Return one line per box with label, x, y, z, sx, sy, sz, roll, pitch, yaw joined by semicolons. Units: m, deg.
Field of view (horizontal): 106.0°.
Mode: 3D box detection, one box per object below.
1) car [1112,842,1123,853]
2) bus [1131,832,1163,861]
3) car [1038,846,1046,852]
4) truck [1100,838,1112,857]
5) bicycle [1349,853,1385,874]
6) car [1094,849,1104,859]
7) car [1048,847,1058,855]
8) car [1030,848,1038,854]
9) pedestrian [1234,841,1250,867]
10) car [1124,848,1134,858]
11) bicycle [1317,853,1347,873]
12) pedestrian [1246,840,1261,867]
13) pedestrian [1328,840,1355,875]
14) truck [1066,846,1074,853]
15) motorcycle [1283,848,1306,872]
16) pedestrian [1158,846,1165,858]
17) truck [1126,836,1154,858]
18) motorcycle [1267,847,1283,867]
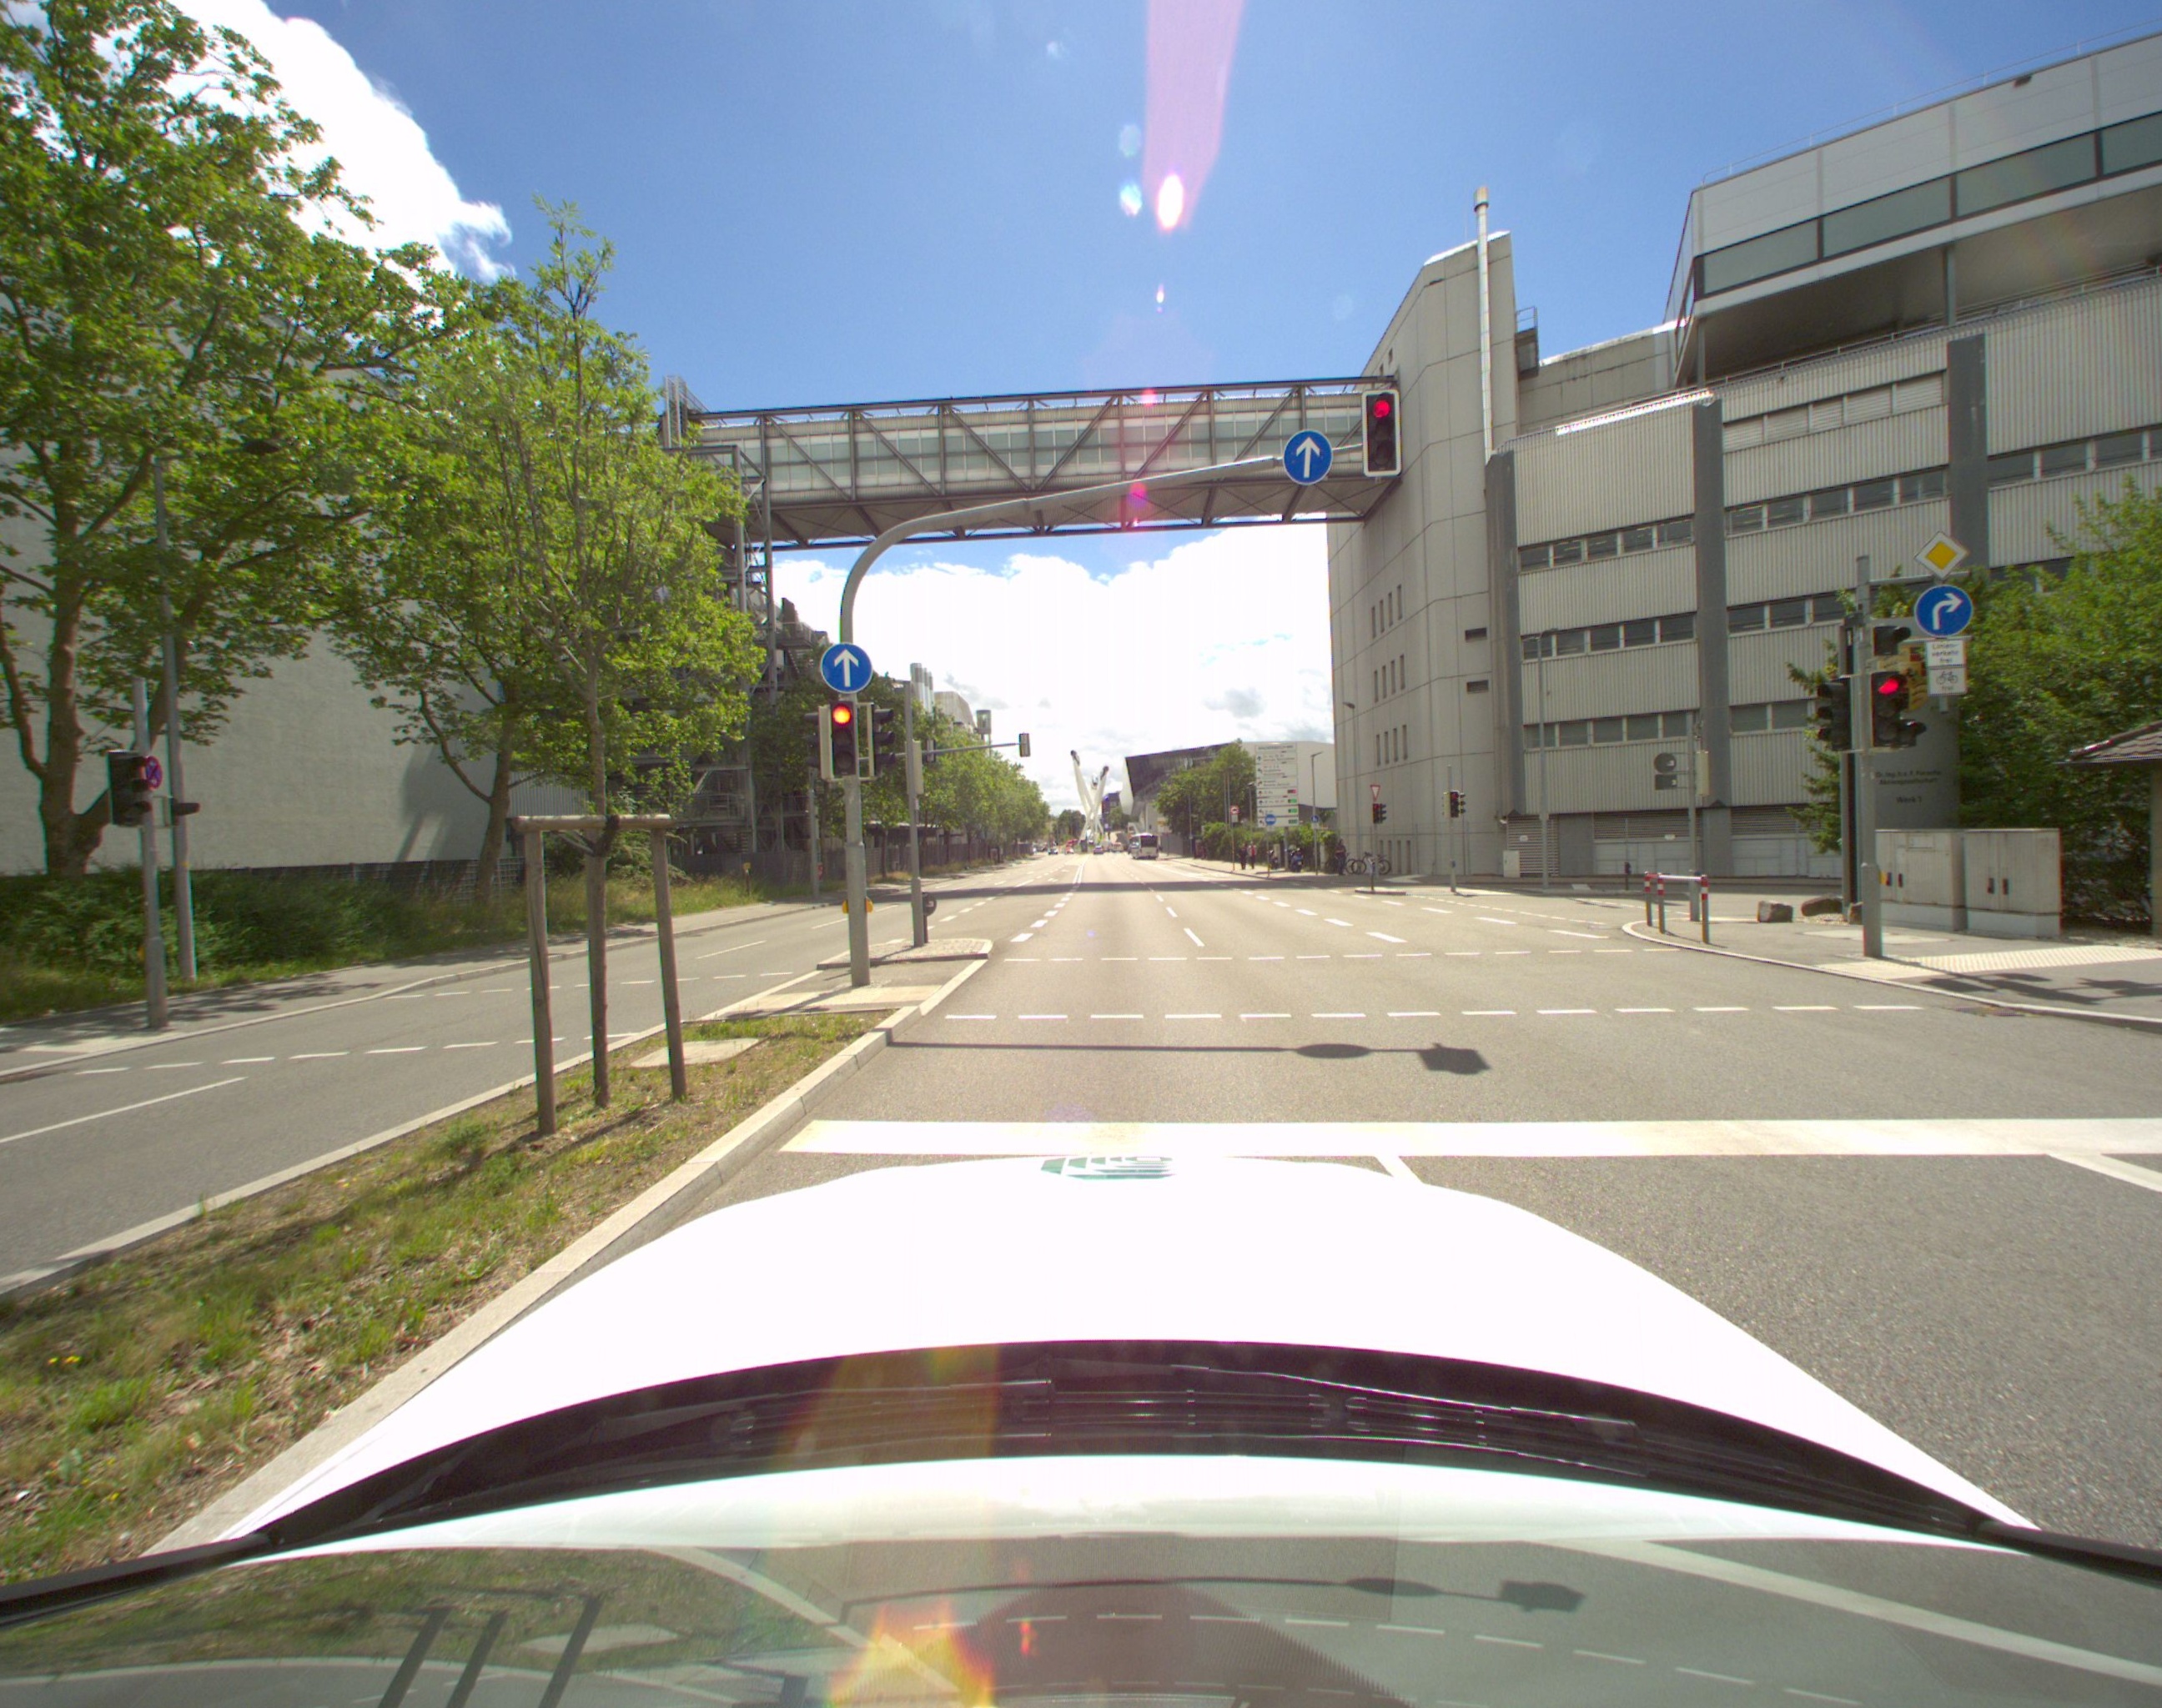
car;7.422;-1.265;165.669;1.984;2.014;4.006;-1;-1;6
bus;8.659;-0.983;107.950;3.441;3.543;10.606;-1;0;0
car;-10.637;-1.364;220.507;1.813;1.537;3.678;-3;0;0
truck;5.316;-1.373;172.255;2.383;3.897;6.180;-1;0;2
bicycle;13.491;0.452;38.496;0.399;0.937;1.913;-1;0;-24
car;3.270;-0.072;148.909;1.732;1.741;3.693;-1;0;2
car;-5.940;-0.648;172.401;1.813;1.537;3.678;-3;0;0
car;-12.112;-0.755;209.305;1.813;1.537;3.678;-3;0;0
pedestrian;10.623;0.008;53.767;0.817;1.707;0.881;-1;0;1
car;8.680;-0.154;148.320;1.732;1.741;3.693;-1;0;2
bicycle;12.547;0.452;40.808;0.398;0.937;1.917;-1;0;-17
pedestrian;11.369;-0.026;53.739;0.817;1.741;0.637;-1;0;1
pedestrian;12.472;0.159;38.992;0.839;1.624;0.962;-1;0;43
truck;-2.235;-0.897;165.788;1.580;1.537;3.673;-1;0;-4
motorcycle;11.714;0.313;44.754;0.703;1.203;2.025;-3;1;2
pedestrian;13.838;-0.341;139.593;1.026;2.014;0.884;0;-1;-2
truck;12.535;-1.501;171.624;3.424;4.391;9.466;-1;0;19
motorcycle;12.537;0.197;52.600;0.572;1.203;2.025;-3;1;2
